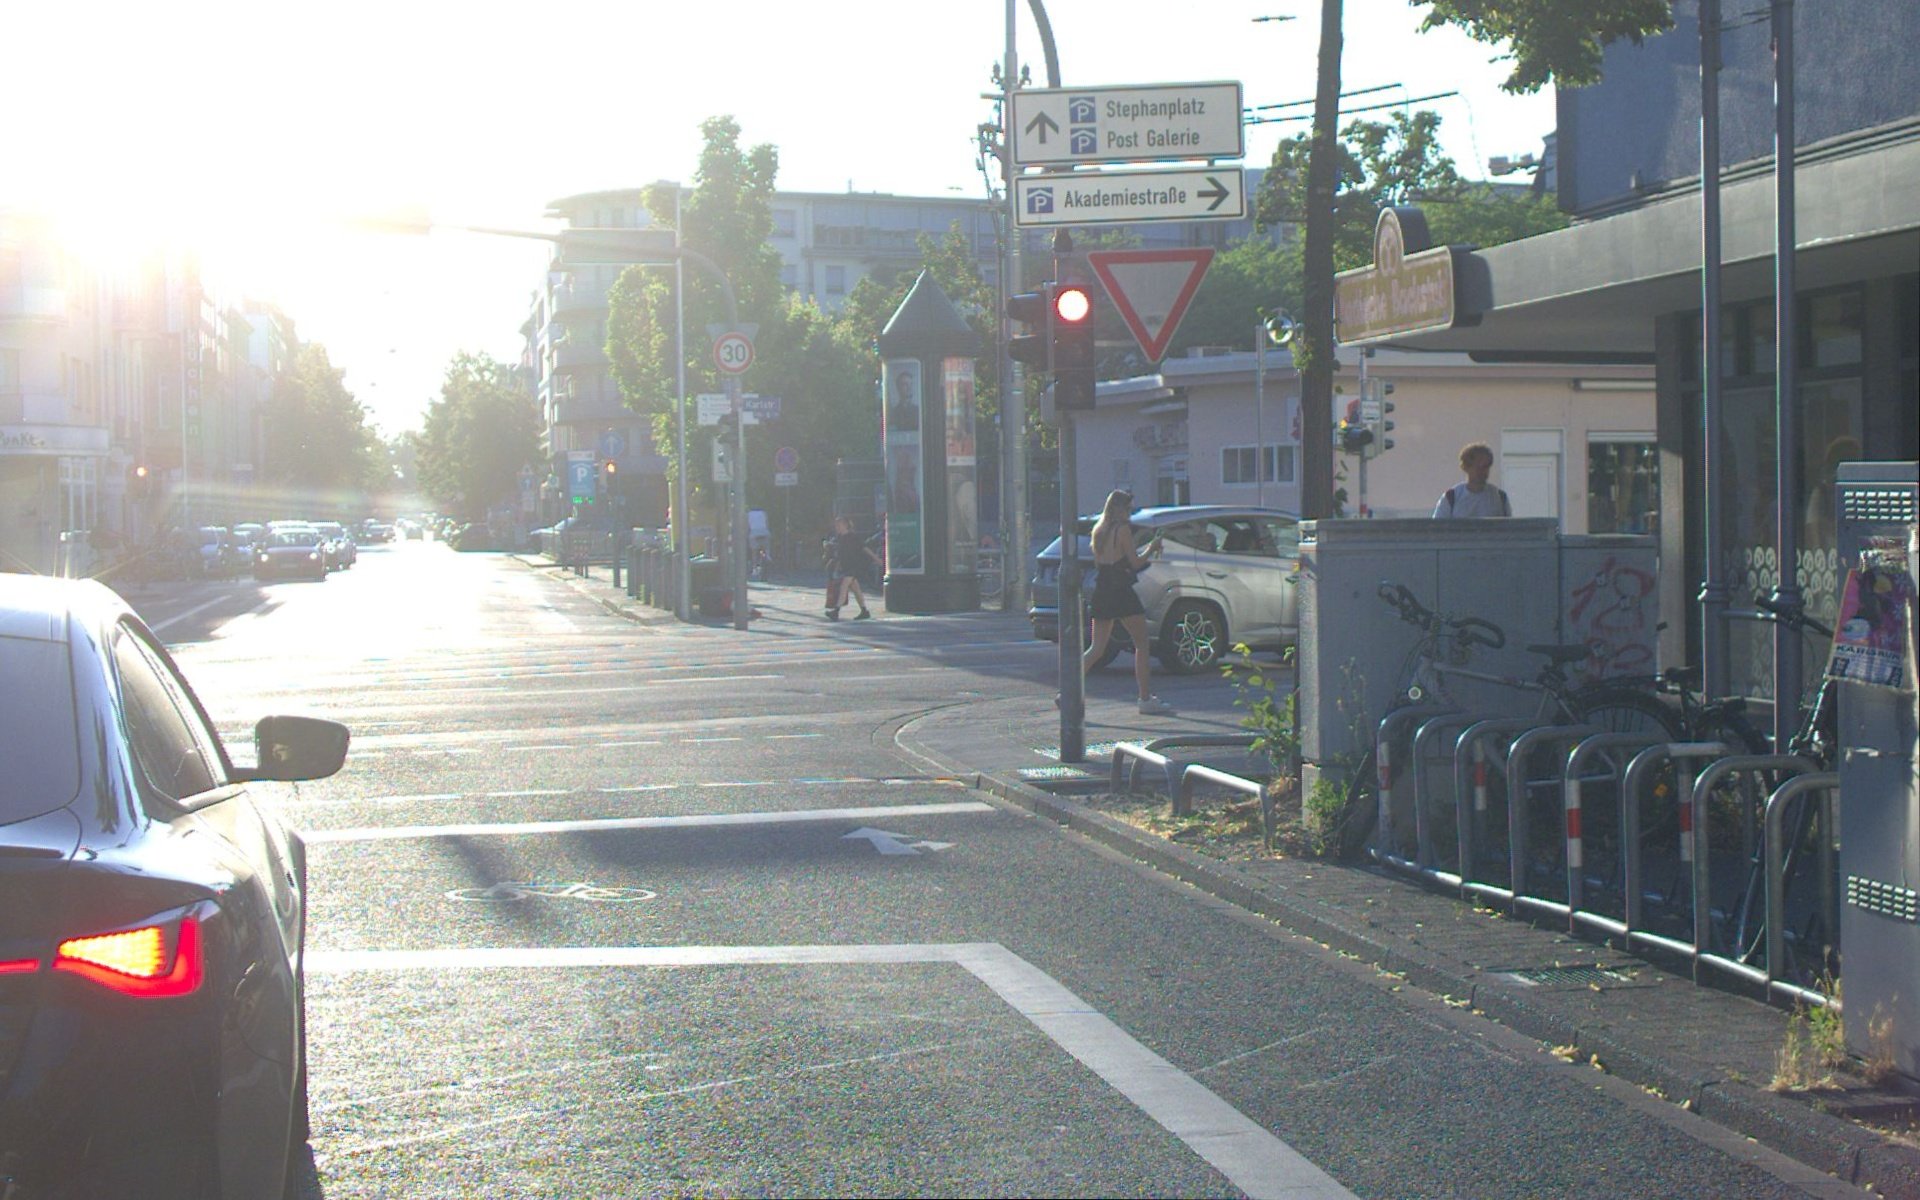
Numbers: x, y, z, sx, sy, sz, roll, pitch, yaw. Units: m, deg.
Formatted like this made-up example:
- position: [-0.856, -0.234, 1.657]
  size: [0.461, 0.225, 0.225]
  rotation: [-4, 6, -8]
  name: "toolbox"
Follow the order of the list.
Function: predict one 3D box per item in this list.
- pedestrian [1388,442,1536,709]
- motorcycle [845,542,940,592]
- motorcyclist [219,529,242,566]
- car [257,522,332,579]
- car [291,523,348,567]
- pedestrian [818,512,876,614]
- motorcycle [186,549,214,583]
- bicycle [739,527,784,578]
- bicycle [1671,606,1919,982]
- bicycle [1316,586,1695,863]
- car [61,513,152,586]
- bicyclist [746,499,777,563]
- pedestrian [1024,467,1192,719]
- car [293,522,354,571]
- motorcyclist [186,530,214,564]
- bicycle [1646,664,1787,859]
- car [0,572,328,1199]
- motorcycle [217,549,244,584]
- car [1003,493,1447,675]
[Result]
- position: [3.529, -0.180, 24.203]
  size: [0.835, 1.835, 0.679]
  rotation: [-1, 1, -8]
  name: "pedestrian"
- position: [-1.334, -0.658, 67.993]
  size: [1.668, 0.935, 0.856]
  rotation: [-1, 2, -19]
  name: "motorcycle"
- position: [-19.879, -1.443, 93.675]
  size: [0.575, 0.992, 0.703]
  rotation: [1, 1, -8]
  name: "motorcyclist"
- position: [-18.307, -1.381, 94.653]
  size: [1.817, 1.514, 4.001]
  rotation: [-1, 2, -8]
  name: "car"
- position: [-22.952, -1.996, 123.234]
  size: [1.817, 1.514, 4.001]
  rotation: [-1, 2, -8]
  name: "car"
- position: [-1.709, -0.559, 52.072]
  size: [0.732, 1.524, 0.472]
  rotation: [0, 1, -29]
  name: "pedestrian"
- position: [-20.814, -0.935, 94.162]
  size: [0.575, 0.912, 2.201]
  rotation: [1, 1, -8]
  name: "motorcycle"
- position: [-4.611, -1.100, 79.868]
  size: [0.550, 1.155, 2.145]
  rotation: [0, 1, -17]
  name: "bicycle"
- position: [3.137, 0.640, 11.451]
  size: [1.440, 1.216, 0.383]
  rotation: [1, 1, -7]
  name: "bicycle"
- position: [2.402, 0.539, 15.161]
  size: [1.612, 1.167, 0.318]
  rotation: [-1, 1, -6]
  name: "bicycle"
- position: [-21.597, -1.299, 87.114]
  size: [1.817, 1.782, 4.001]
  rotation: [-1, 2, -8]
  name: "car"
- position: [-4.618, -1.599, 79.905]
  size: [0.550, 1.476, 0.723]
  rotation: [0, 0, -17]
  name: "bicyclist"
- position: [1.138, -0.066, 26.417]
  size: [1.001, 1.854, 0.640]
  rotation: [-5, 3, -28]
  name: "pedestrian"
- position: [-20.903, -1.770, 113.008]
  size: [1.817, 1.514, 4.001]
  rotation: [-1, 2, -8]
  name: "car"
- position: [-20.819, -1.465, 94.174]
  size: [0.575, 0.912, 2.201]
  rotation: [1, 1, -8]
  name: "motorcyclist"
- position: [3.361, 0.705, 15.332]
  size: [0.249, 0.793, 1.116]
  rotation: [1, 1, -7]
  name: "bicycle"
- position: [-2.109, 0.687, 6.505]
  size: [1.736, 1.424, 4.225]
  rotation: [0, 1, -10]
  name: "car"
- position: [-19.907, -0.916, 93.782]
  size: [0.575, 0.912, 2.201]
  rotation: [1, 1, -8]
  name: "motorcycle"
- position: [2.711, -0.206, 34.783]
  size: [4.278, 1.701, 1.805]
  rotation: [-2, 2, -34]
  name: "car"
